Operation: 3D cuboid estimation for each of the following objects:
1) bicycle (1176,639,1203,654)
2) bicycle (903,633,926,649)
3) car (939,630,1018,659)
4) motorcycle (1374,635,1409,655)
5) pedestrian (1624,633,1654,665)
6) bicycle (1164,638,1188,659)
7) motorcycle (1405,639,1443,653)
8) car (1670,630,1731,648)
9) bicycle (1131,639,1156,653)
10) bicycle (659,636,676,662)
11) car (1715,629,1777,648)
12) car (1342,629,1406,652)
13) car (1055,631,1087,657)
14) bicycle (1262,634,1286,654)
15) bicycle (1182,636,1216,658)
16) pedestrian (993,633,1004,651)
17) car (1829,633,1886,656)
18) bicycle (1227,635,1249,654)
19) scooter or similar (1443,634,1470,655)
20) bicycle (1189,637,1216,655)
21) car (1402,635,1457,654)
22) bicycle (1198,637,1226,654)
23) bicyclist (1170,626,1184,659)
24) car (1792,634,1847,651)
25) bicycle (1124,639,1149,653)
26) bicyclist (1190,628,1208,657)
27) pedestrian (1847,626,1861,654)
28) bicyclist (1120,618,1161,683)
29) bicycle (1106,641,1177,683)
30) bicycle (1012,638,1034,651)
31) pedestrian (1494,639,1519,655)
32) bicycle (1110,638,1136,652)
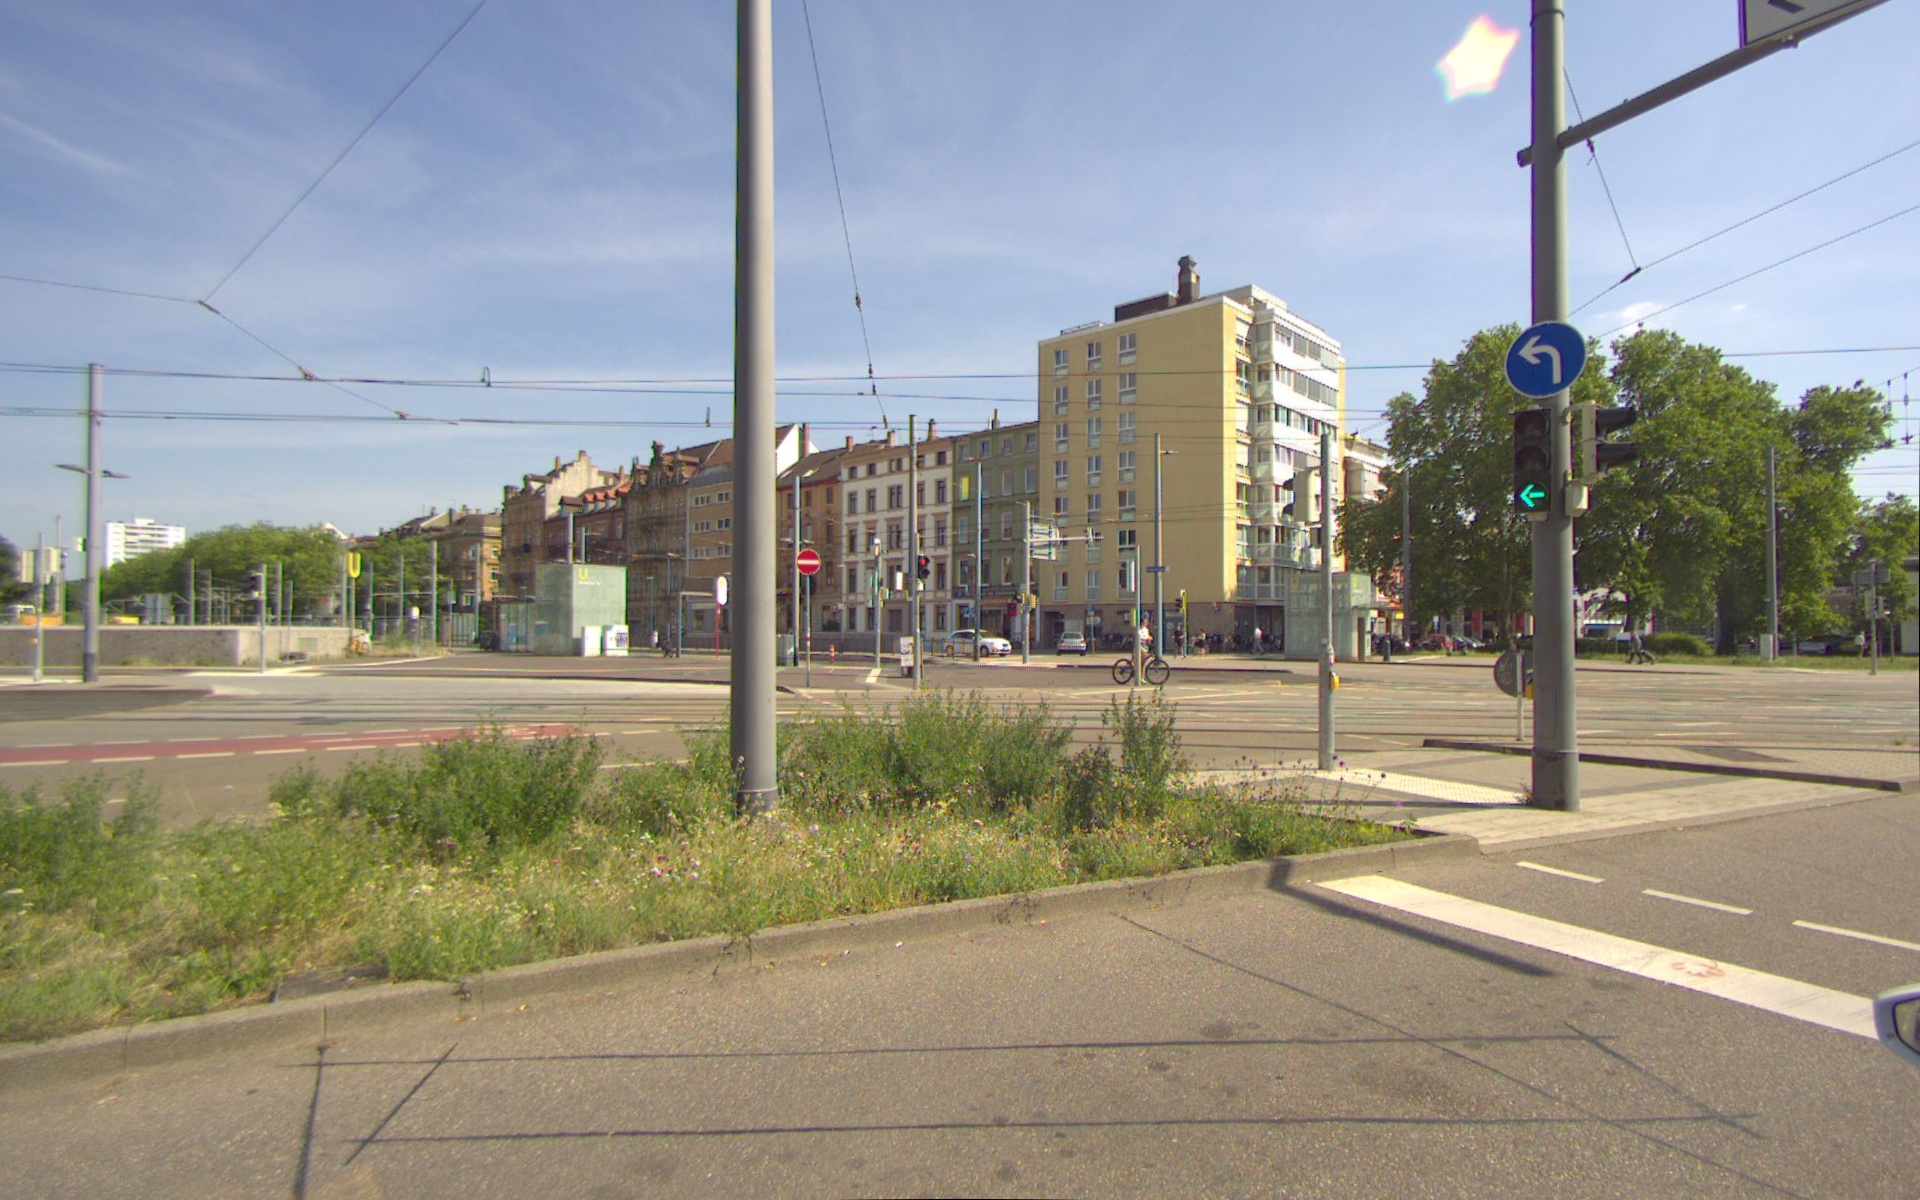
[{"bbox_3d":[15.119,3.039,66.280,0.579,0.978,1.736,0,-2,-41],"label":"bicycle"},{"bbox_3d":[-3.227,2.882,71.161,0.589,1.109,1.738,0,-2,43],"label":"bicycle"},{"bbox_3d":[0.948,2.346,53.593,4.067,1.417,1.749,-1,1,43],"label":"car"},{"bbox_3d":[24.607,2.547,57.322,0.631,1.076,2.028,1,-2,-22],"label":"motorcycle"},{"bbox_3d":[32.098,2.305,47.451,1.100,1.422,0.654,2,0,39],"label":"pedestrian"},{"bbox_3d":[11.910,2.653,55.374,0.575,1.145,1.790,-2,-3,37],"label":"bicycle"},{"bbox_3d":[28.139,2.798,60.896,1.997,0.853,0.641,0,-1,4],"label":"motorcycle"},{"bbox_3d":[66.424,3.471,90.164,1.977,1.389,3.968,2,0,-30],"label":"car"},{"bbox_3d":[12.550,3.165,68.872,0.579,0.928,1.737,0,-2,-39],"label":"bicycle"},{"bbox_3d":[-13.345,2.228,45.812,0.408,1.085,1.651,0,0,-28],"label":"bicycle"},{"bbox_3d":[70.125,3.413,89.685,1.977,1.572,3.967,1,-2,-31],"label":"car"},{"bbox_3d":[30.322,2.951,73.617,3.945,1.459,1.880,1,0,44],"label":"car"},{"bbox_3d":[6.826,2.748,62.001,1.777,1.458,4.004,1,-4,4],"label":"car"},{"bbox_3d":[20.275,2.841,64.793,1.740,1.235,0.578,0,-2,-37],"label":"bicycle"},{"bbox_3d":[12.842,2.511,54.020,1.775,1.145,0.749,1,-2,-30],"label":"bicycle"},{"bbox_3d":[3.004,3.282,78.215,0.637,1.392,0.524,-1,-2,43],"label":"pedestrian"},{"bbox_3d":[71.444,3.514,79.938,3.946,1.706,1.987,2,0,-25],"label":"car"},{"bbox_3d":[18.169,2.897,65.700,0.534,1.201,1.878,-1,-2,45],"label":"bicycle"},{"bbox_3d":[26.913,2.404,54.470,0.509,1.134,1.358,0,-2,-19],"label":"scooter or similar"},{"bbox_3d":[15.684,2.952,64.914,0.578,1.100,1.740,-2,0,-34],"label":"bicycle"},{"bbox_3d":[38.692,3.640,82.832,3.684,1.358,1.733,1,0,44],"label":"car"},{"bbox_3d":[16.311,2.961,65.139,0.579,1.056,1.737,0,-2,-40],"label":"bicycle"},{"bbox_3d":[11.932,2.339,55.207,0.575,1.757,0.615,-2,-3,37],"label":"bicyclist"},{"bbox_3d":[69.975,3.435,81.796,3.946,1.261,1.987,2,0,-25],"label":"car"},{"bbox_3d":[12.041,3.148,68.640,0.579,0.928,1.737,0,-2,-39],"label":"bicycle"},{"bbox_3d":[12.866,2.289,54.045,0.605,1.593,0.728,2,-3,-29],"label":"bicyclist"},{"bbox_3d":[53.712,2.396,60.363,0.455,1.617,0.393,2,0,-6],"label":"pedestrian"},{"bbox_3d":[4.890,1.366,27.191,0.745,1.706,0.768,2,-4,-40],"label":"bicyclist"},{"bbox_3d":[4.888,1.682,27.198,0.745,1.098,1.828,2,-4,-40],"label":"bicycle"},{"bbox_3d":[4.798,3.397,76.230,1.755,0.977,0.412,-2,0,42],"label":"bicycle"},{"bbox_3d":[32.117,2.749,59.055,1.159,0.904,0.818,-1,-2,41],"label":"pedestrian"},{"bbox_3d":[11.347,3.134,69.969,1.733,0.928,0.580,-2,-2,44],"label":"bicycle"}]
